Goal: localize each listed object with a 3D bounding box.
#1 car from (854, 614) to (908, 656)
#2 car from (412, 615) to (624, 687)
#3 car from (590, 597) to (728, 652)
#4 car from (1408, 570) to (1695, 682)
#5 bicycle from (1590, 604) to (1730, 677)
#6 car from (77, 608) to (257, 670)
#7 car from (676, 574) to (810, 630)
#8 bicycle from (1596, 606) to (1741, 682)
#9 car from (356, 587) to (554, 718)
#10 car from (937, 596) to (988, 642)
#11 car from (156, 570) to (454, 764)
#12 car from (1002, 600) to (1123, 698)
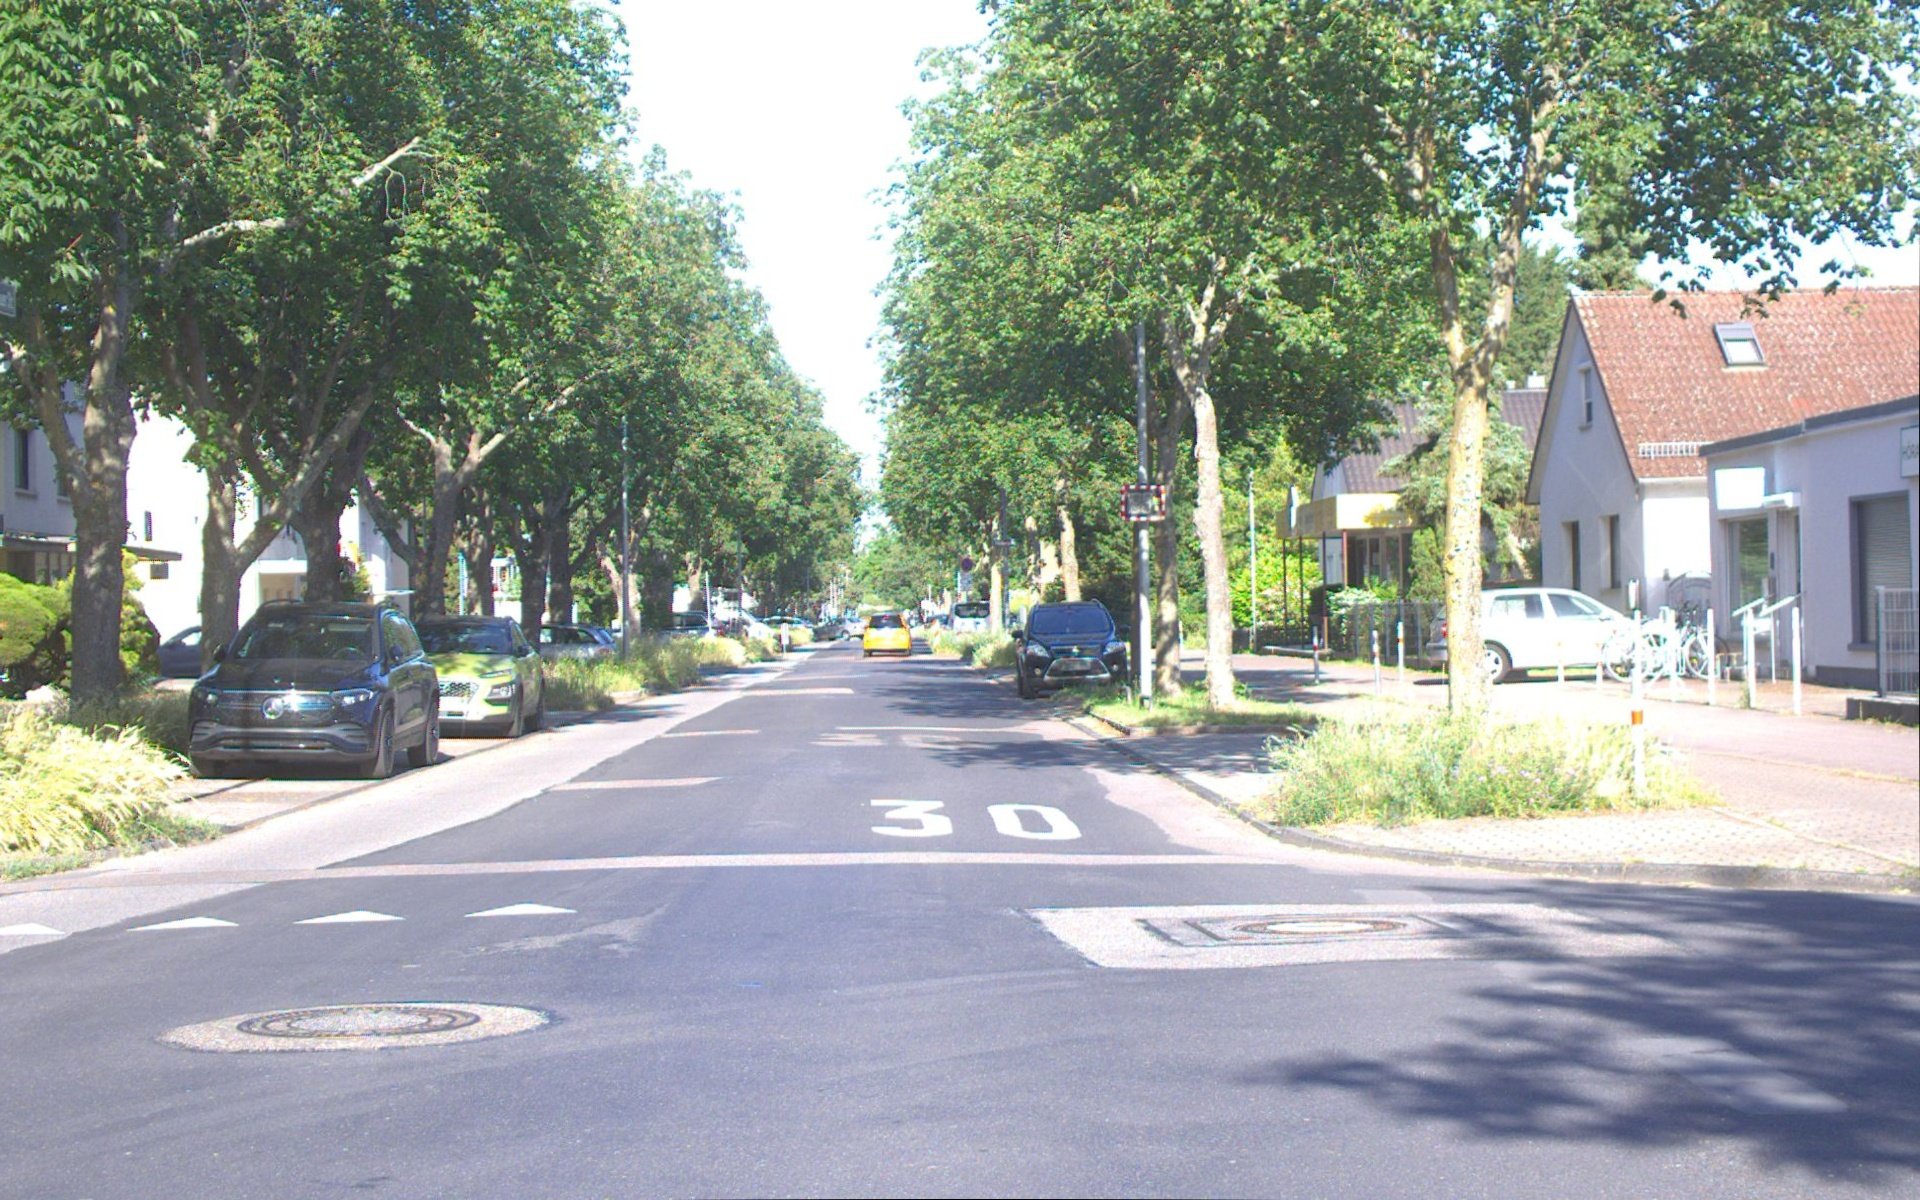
[{"bbox_3d":[-2.912,1.264,125.588,1.888,1.474,3.888,1,0,-2],"label":"car"},{"bbox_3d":[-9.948,1.146,77.638,4.554,1.506,1.841,1,1,-1],"label":"car"},{"bbox_3d":[-10.101,0.818,115.203,4.545,1.759,2.000,0,1,-6],"label":"car"},{"bbox_3d":[9.089,0.377,53.039,3.986,1.483,1.902,-3,1,-2],"label":"car"},{"bbox_3d":[10.375,0.597,50.985,1.923,0.995,0.576,-2,1,-2],"label":"bicycle"},{"bbox_3d":[-21.686,1.066,94.151,4.554,1.612,2.000,0,1,-5],"label":"car"},{"bbox_3d":[-9.012,0.077,143.289,5.498,2.240,2.517,1,1,-2],"label":"car"},{"bbox_3d":[10.298,0.636,49.994,1.957,0.995,0.576,-2,1,-2],"label":"bicycle"},{"bbox_3d":[-6.541,0.694,44.975,1.939,1.603,4.383,1,-1,0],"label":"car"},{"bbox_3d":[0.088,0.744,134.213,1.902,1.768,4.301,1,0,-1],"label":"car"},{"bbox_3d":[-6.254,0.646,33.374,1.953,1.721,4.875,1,-1,0],"label":"car"},{"bbox_3d":[1.782,0.869,61.117,1.853,1.620,4.469,-2,-1,-1],"label":"car"}]
